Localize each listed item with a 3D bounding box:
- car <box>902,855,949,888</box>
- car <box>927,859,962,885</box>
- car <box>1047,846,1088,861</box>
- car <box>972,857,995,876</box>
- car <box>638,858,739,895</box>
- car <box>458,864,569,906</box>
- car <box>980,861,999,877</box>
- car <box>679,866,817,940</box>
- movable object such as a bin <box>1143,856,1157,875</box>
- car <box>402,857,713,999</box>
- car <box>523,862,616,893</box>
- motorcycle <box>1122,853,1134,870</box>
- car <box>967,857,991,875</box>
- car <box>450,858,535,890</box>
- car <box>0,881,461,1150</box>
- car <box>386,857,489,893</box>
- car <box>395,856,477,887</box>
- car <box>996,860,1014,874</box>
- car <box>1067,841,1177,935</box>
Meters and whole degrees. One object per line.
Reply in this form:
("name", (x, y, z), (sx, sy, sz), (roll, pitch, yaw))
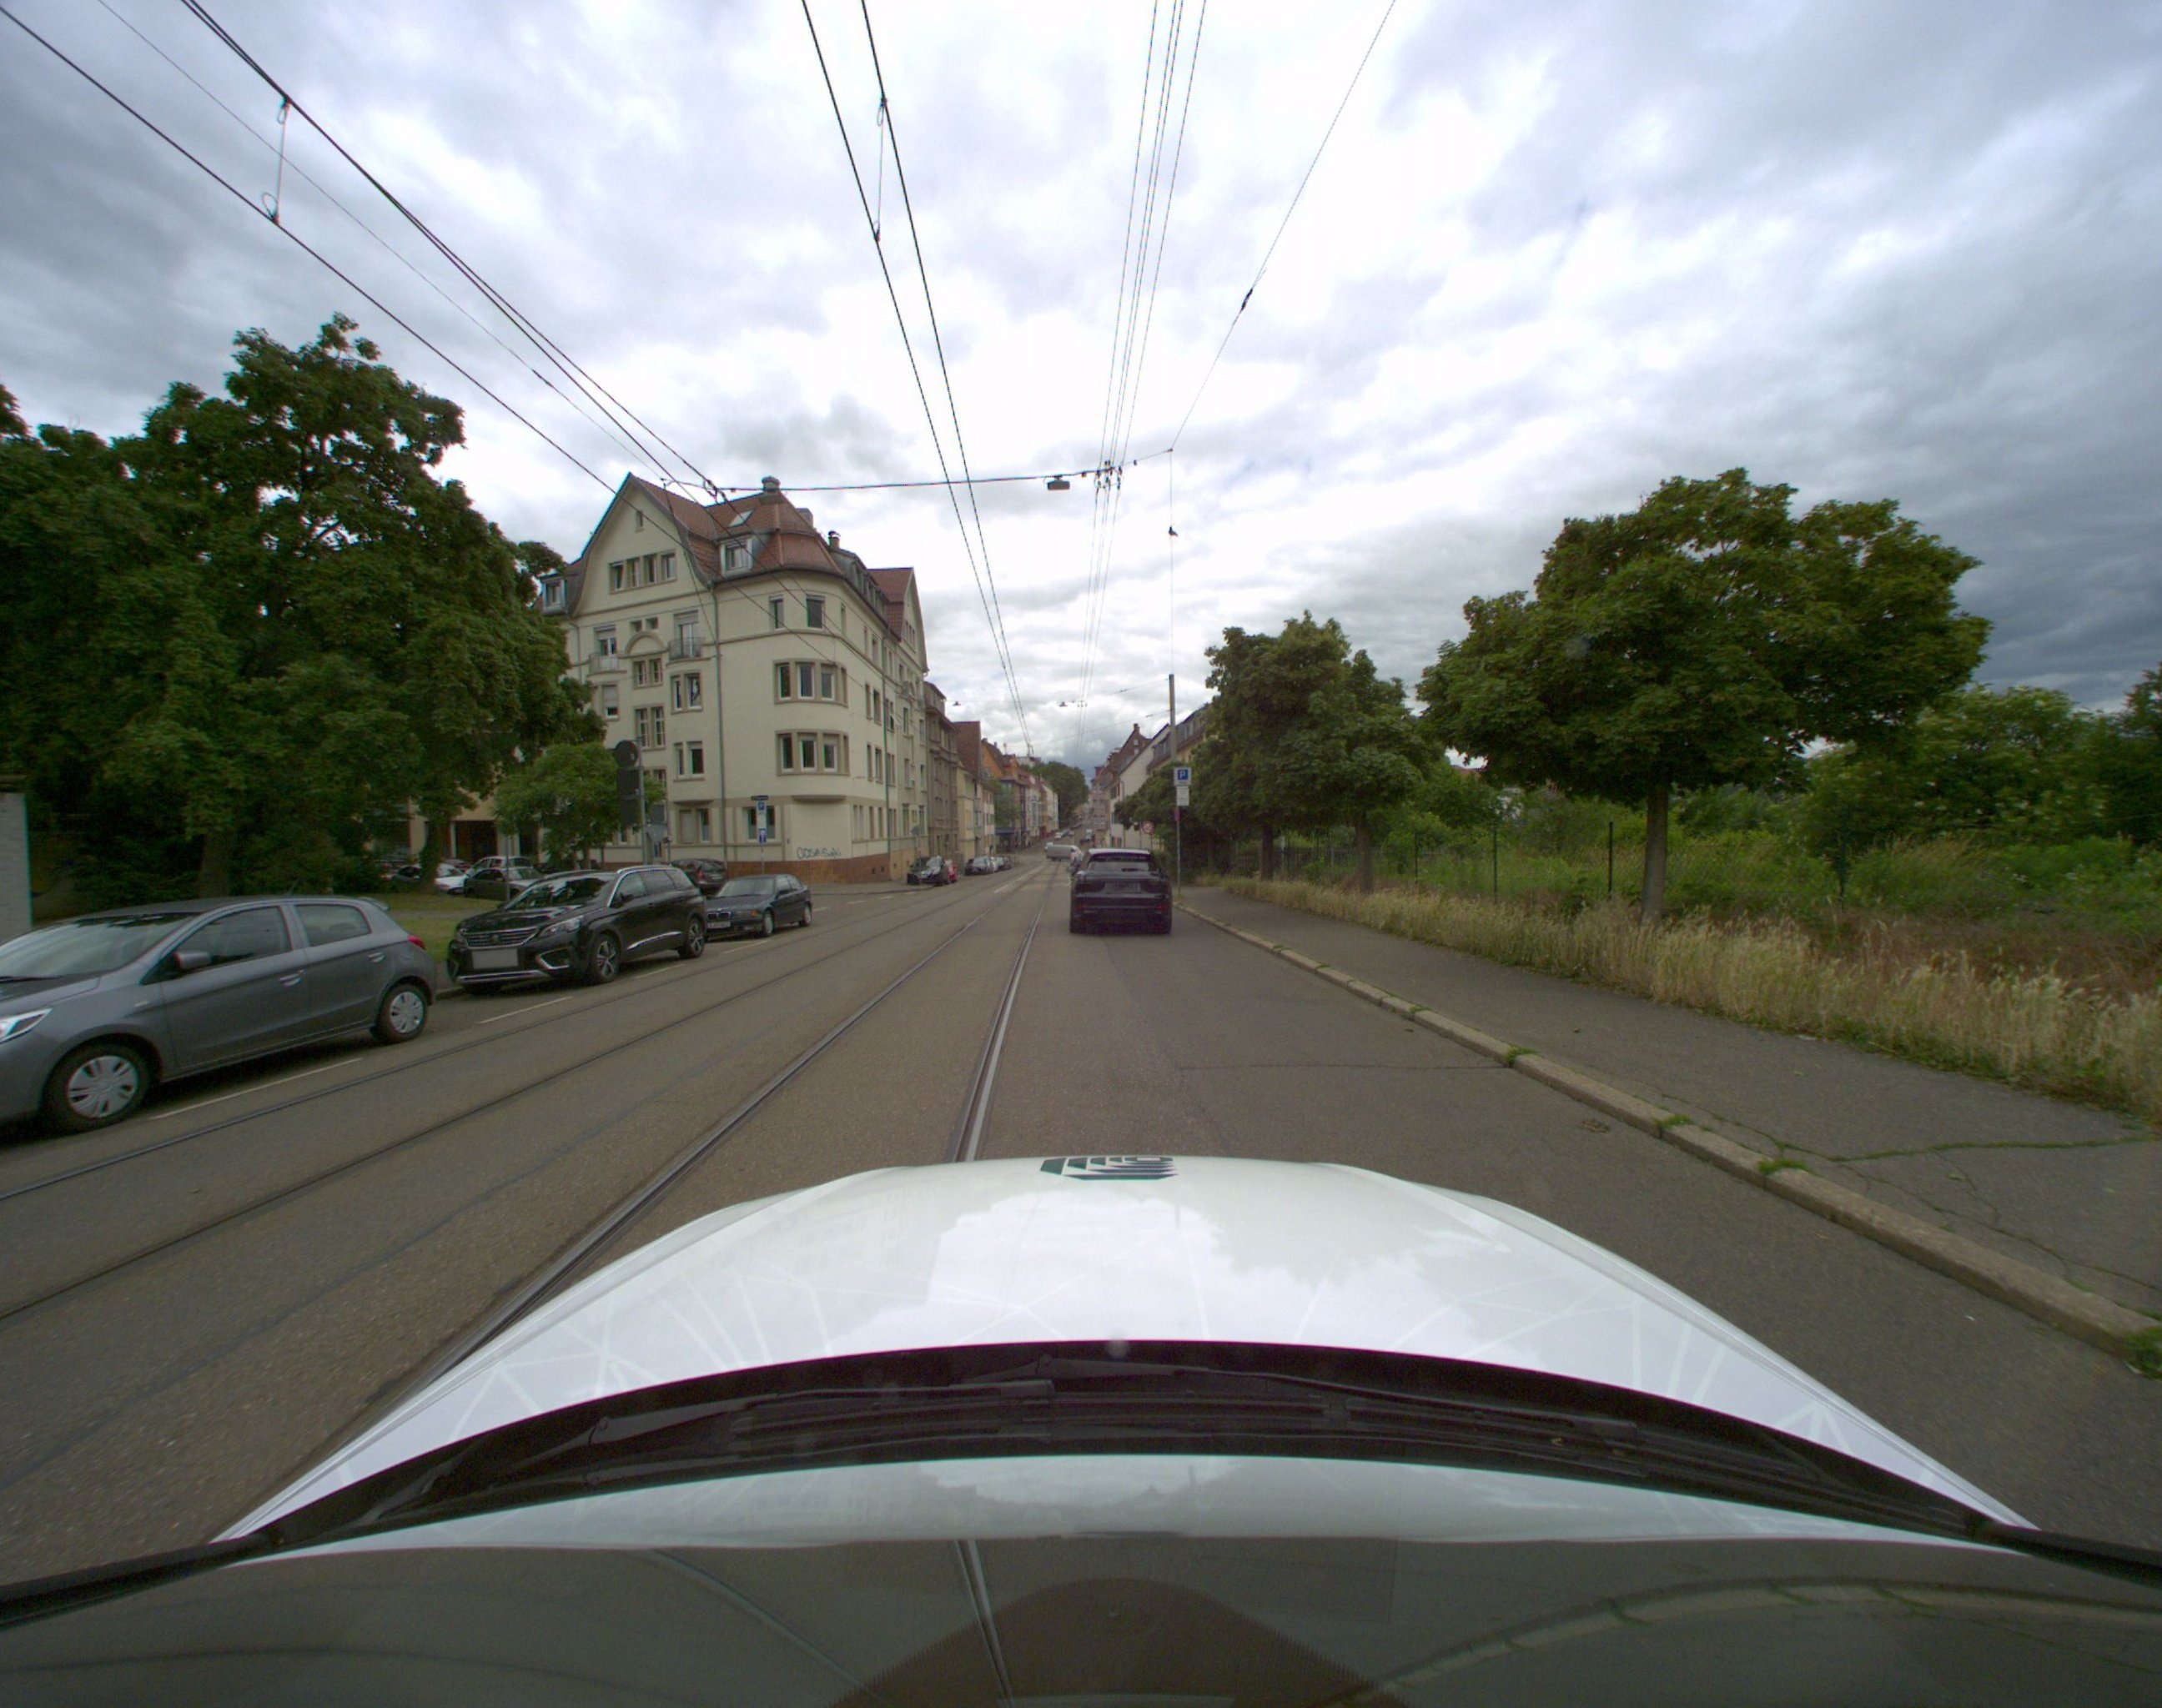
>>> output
("car", (-8.412, 0.942, 44.426), (1.863, 1.646, 4.398), (-2, -1, -2))
("car", (-8.350, 1.114, 50.091), (1.617, 1.463, 3.742), (-2, -1, -2))
("car", (-2.222, -0.098, 131.603), (6.221, 2.290, 2.215), (-2, -1, 27))
("car", (-8.781, 1.151, 73.560), (1.617, 1.604, 4.347), (-2, -1, -2))
("car", (-17.383, 0.992, 36.055), (3.951, 1.571, 1.887), (-1, 0, 25))
("car", (-22.131, 1.155, 31.766), (3.951, 1.439, 1.771), (1, 2, 25))
("car", (-8.916, 1.427, 79.570), (1.617, 1.463, 3.681), (-2, -1, -2))
("car", (-7.624, 1.069, 19.072), (1.617, 1.477, 4.152), (-2, -1, -2))
("movable object such as a bin", (4.472, 0.726, 52.920), (0.790, 1.218, 0.788), (-1, -1, -5))
("car", (-7.570, 0.967, 12.446), (1.964, 1.686, 4.440), (-2, -1, -2))
("car", (-24.575, 1.135, 39.147), (3.951, 1.354, 1.887), (-1, 0, 25))
("motorcycle", (4.131, 0.672, 71.914), (0.836, 1.456, 2.552), (-1, -1, 0))
("car", (-8.619, 1.028, 68.740), (1.617, 1.463, 4.029), (-2, -1, -2))
("car", (-29.969, 1.005, 41.499), (3.951, 1.544, 1.771), (-1, 0, 25))
("car", (-7.234, 1.032, 6.455), (1.734, 1.509, 3.865), (-2, -1, -2))
("car", (-27.098, 0.870, 34.282), (3.951, 1.419, 1.771), (-1, 0, 25))
("car", (-34.281, 0.936, 43.265), (3.951, 1.544, 1.771), (-1, 0, 25))
("car", (-8.178, 1.427, 88.043), (1.617, 1.473, 4.551), (-2, -1, -2))
("car", (0.724, 0.637, 17.009), (1.988, 1.676, 3.997), (-1, -1, -1))
